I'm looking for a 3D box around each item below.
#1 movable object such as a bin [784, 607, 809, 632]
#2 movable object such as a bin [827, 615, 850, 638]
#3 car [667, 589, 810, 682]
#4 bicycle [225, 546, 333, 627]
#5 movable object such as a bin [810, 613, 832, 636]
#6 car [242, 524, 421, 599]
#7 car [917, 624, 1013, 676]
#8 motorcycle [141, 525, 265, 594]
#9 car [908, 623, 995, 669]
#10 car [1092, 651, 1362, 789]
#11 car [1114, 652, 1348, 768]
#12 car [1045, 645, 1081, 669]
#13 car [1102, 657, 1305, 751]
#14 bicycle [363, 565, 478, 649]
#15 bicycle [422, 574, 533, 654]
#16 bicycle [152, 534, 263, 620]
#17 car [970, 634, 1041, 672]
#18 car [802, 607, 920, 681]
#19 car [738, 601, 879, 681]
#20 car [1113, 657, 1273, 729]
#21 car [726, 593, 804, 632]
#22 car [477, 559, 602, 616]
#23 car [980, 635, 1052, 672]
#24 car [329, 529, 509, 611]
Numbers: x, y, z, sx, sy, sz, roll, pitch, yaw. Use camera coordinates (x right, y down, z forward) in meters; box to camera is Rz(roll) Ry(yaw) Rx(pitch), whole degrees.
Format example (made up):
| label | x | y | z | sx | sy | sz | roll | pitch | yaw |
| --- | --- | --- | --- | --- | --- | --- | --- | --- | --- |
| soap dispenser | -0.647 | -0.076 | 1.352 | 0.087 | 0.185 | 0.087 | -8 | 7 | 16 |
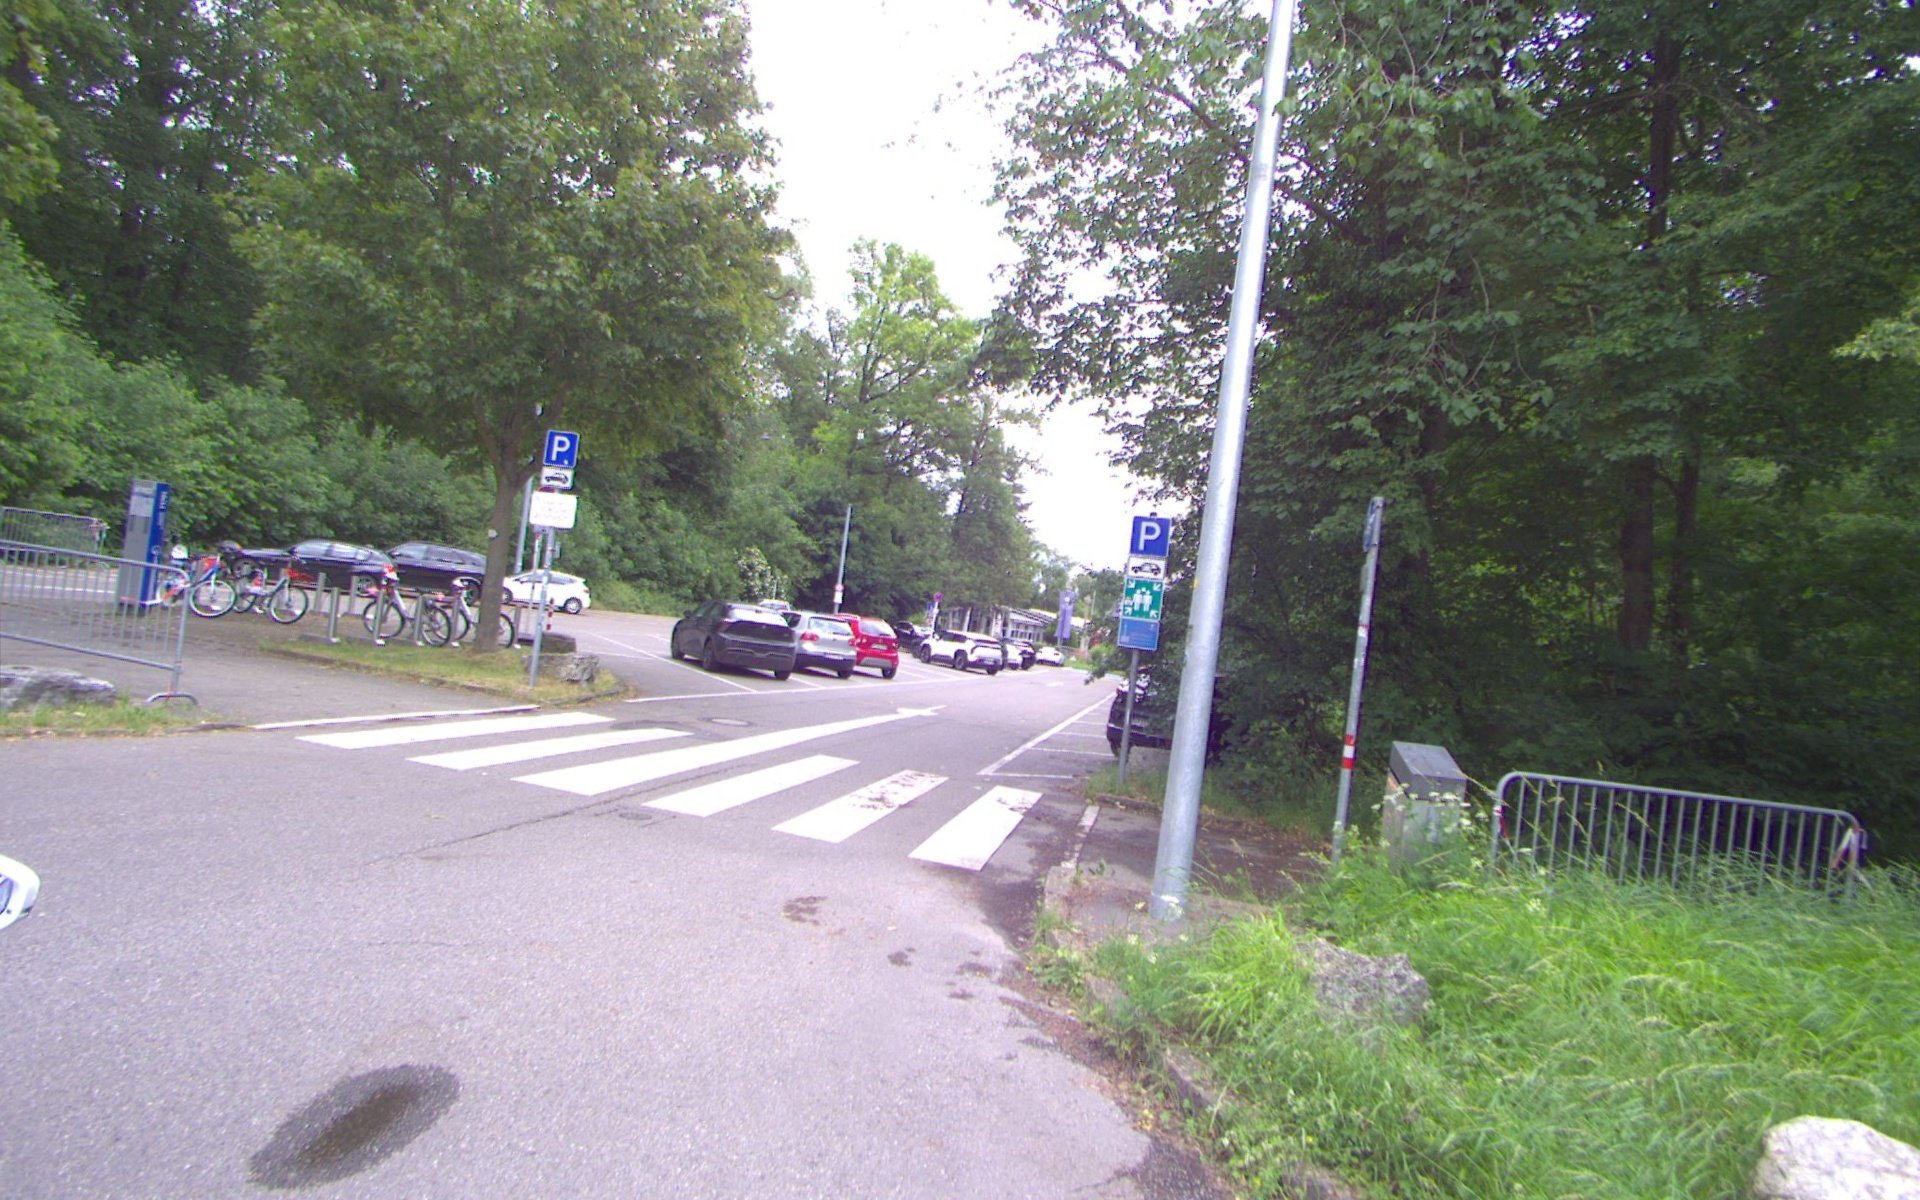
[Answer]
| label | x | y | z | sx | sy | sz | roll | pitch | yaw |
| --- | --- | --- | --- | --- | --- | --- | --- | --- | --- |
| movable object such as a bin | -10.829 | 1.287 | 66.555 | 1.106 | 1.442 | 1.132 | 7 | -1 | 16 |
| movable object such as a bin | -8.147 | 1.771 | 67.233 | 1.155 | 1.322 | 1.309 | 8 | -1 | -17 |
| car | -4.971 | 0.719 | 22.163 | 1.812 | 1.540 | 4.070 | 9 | -2 | -29 |
| bicycle | -11.471 | -0.230 | 16.945 | 1.653 | 1.124 | 0.506 | 8 | -1 | 19 |
| movable object such as a bin | -9.267 | 1.606 | 66.898 | 1.110 | 1.330 | 1.181 | 8 | -1 | -17 |
| car | -17.307 | -1.037 | 27.870 | 3.962 | 1.391 | 1.726 | 10 | -2 | -32 |
| car | 0.146 | 2.062 | 42.058 | 1.830 | 1.615 | 4.151 | 9 | -1 | -34 |
| motorcycle | -17.134 | -0.908 | 22.832 | 2.003 | 1.221 | 0.727 | 9 | -1 | -22 |
| car | -0.422 | 2.129 | 46.915 | 1.859 | 1.572 | 3.957 | 9 | -2 | -39 |
| car | 4.020 | 1.808 | 14.977 | 3.758 | 1.509 | 1.685 | 10 | -2 | -33 |
| car | 5.201 | 2.120 | 19.155 | 4.167 | 1.598 | 1.940 | 10 | -2 | -34 |
| car | 7.480 | 4.108 | 72.751 | 1.863 | 1.445 | 4.004 | 8 | -2 | 14 |
| car | 5.413 | 2.311 | 22.295 | 4.076 | 1.455 | 1.856 | 10 | -2 | -29 |
| bicycle | -8.794 | 0.118 | 16.391 | 1.653 | 1.124 | 0.483 | 8 | -1 | 16 |
| bicycle | -8.445 | 0.245 | 17.600 | 1.755 | 1.124 | 0.483 | 8 | -1 | 16 |
| bicycle | -11.941 | -0.362 | 15.949 | 1.666 | 1.124 | 0.483 | 8 | -1 | 21 |
| car | 2.379 | 2.778 | 53.351 | 1.755 | 1.460 | 3.814 | 9 | -2 | -31 |
| car | -2.895 | 1.223 | 28.849 | 1.672 | 1.604 | 3.620 | 9 | -2 | -35 |
| car | -3.953 | 1.003 | 25.748 | 1.861 | 1.500 | 3.963 | 9 | -2 | -34 |
| car | 6.825 | 2.727 | 29.383 | 4.250 | 1.430 | 1.915 | 9 | -2 | -28 |
| car | -11.716 | 0.781 | 60.403 | 4.031 | 1.704 | 1.865 | 9 | -2 | -31 |
| car | -15.799 | -0.467 | 37.831 | 3.961 | 1.528 | 1.854 | 9 | -2 | -32 |
| car | 3.094 | 2.984 | 56.526 | 1.744 | 1.460 | 4.240 | 9 | -2 | -34 |
| car | -16.869 | -0.913 | 31.491 | 4.663 | 1.787 | 2.095 | 9 | -1 | -32 |
